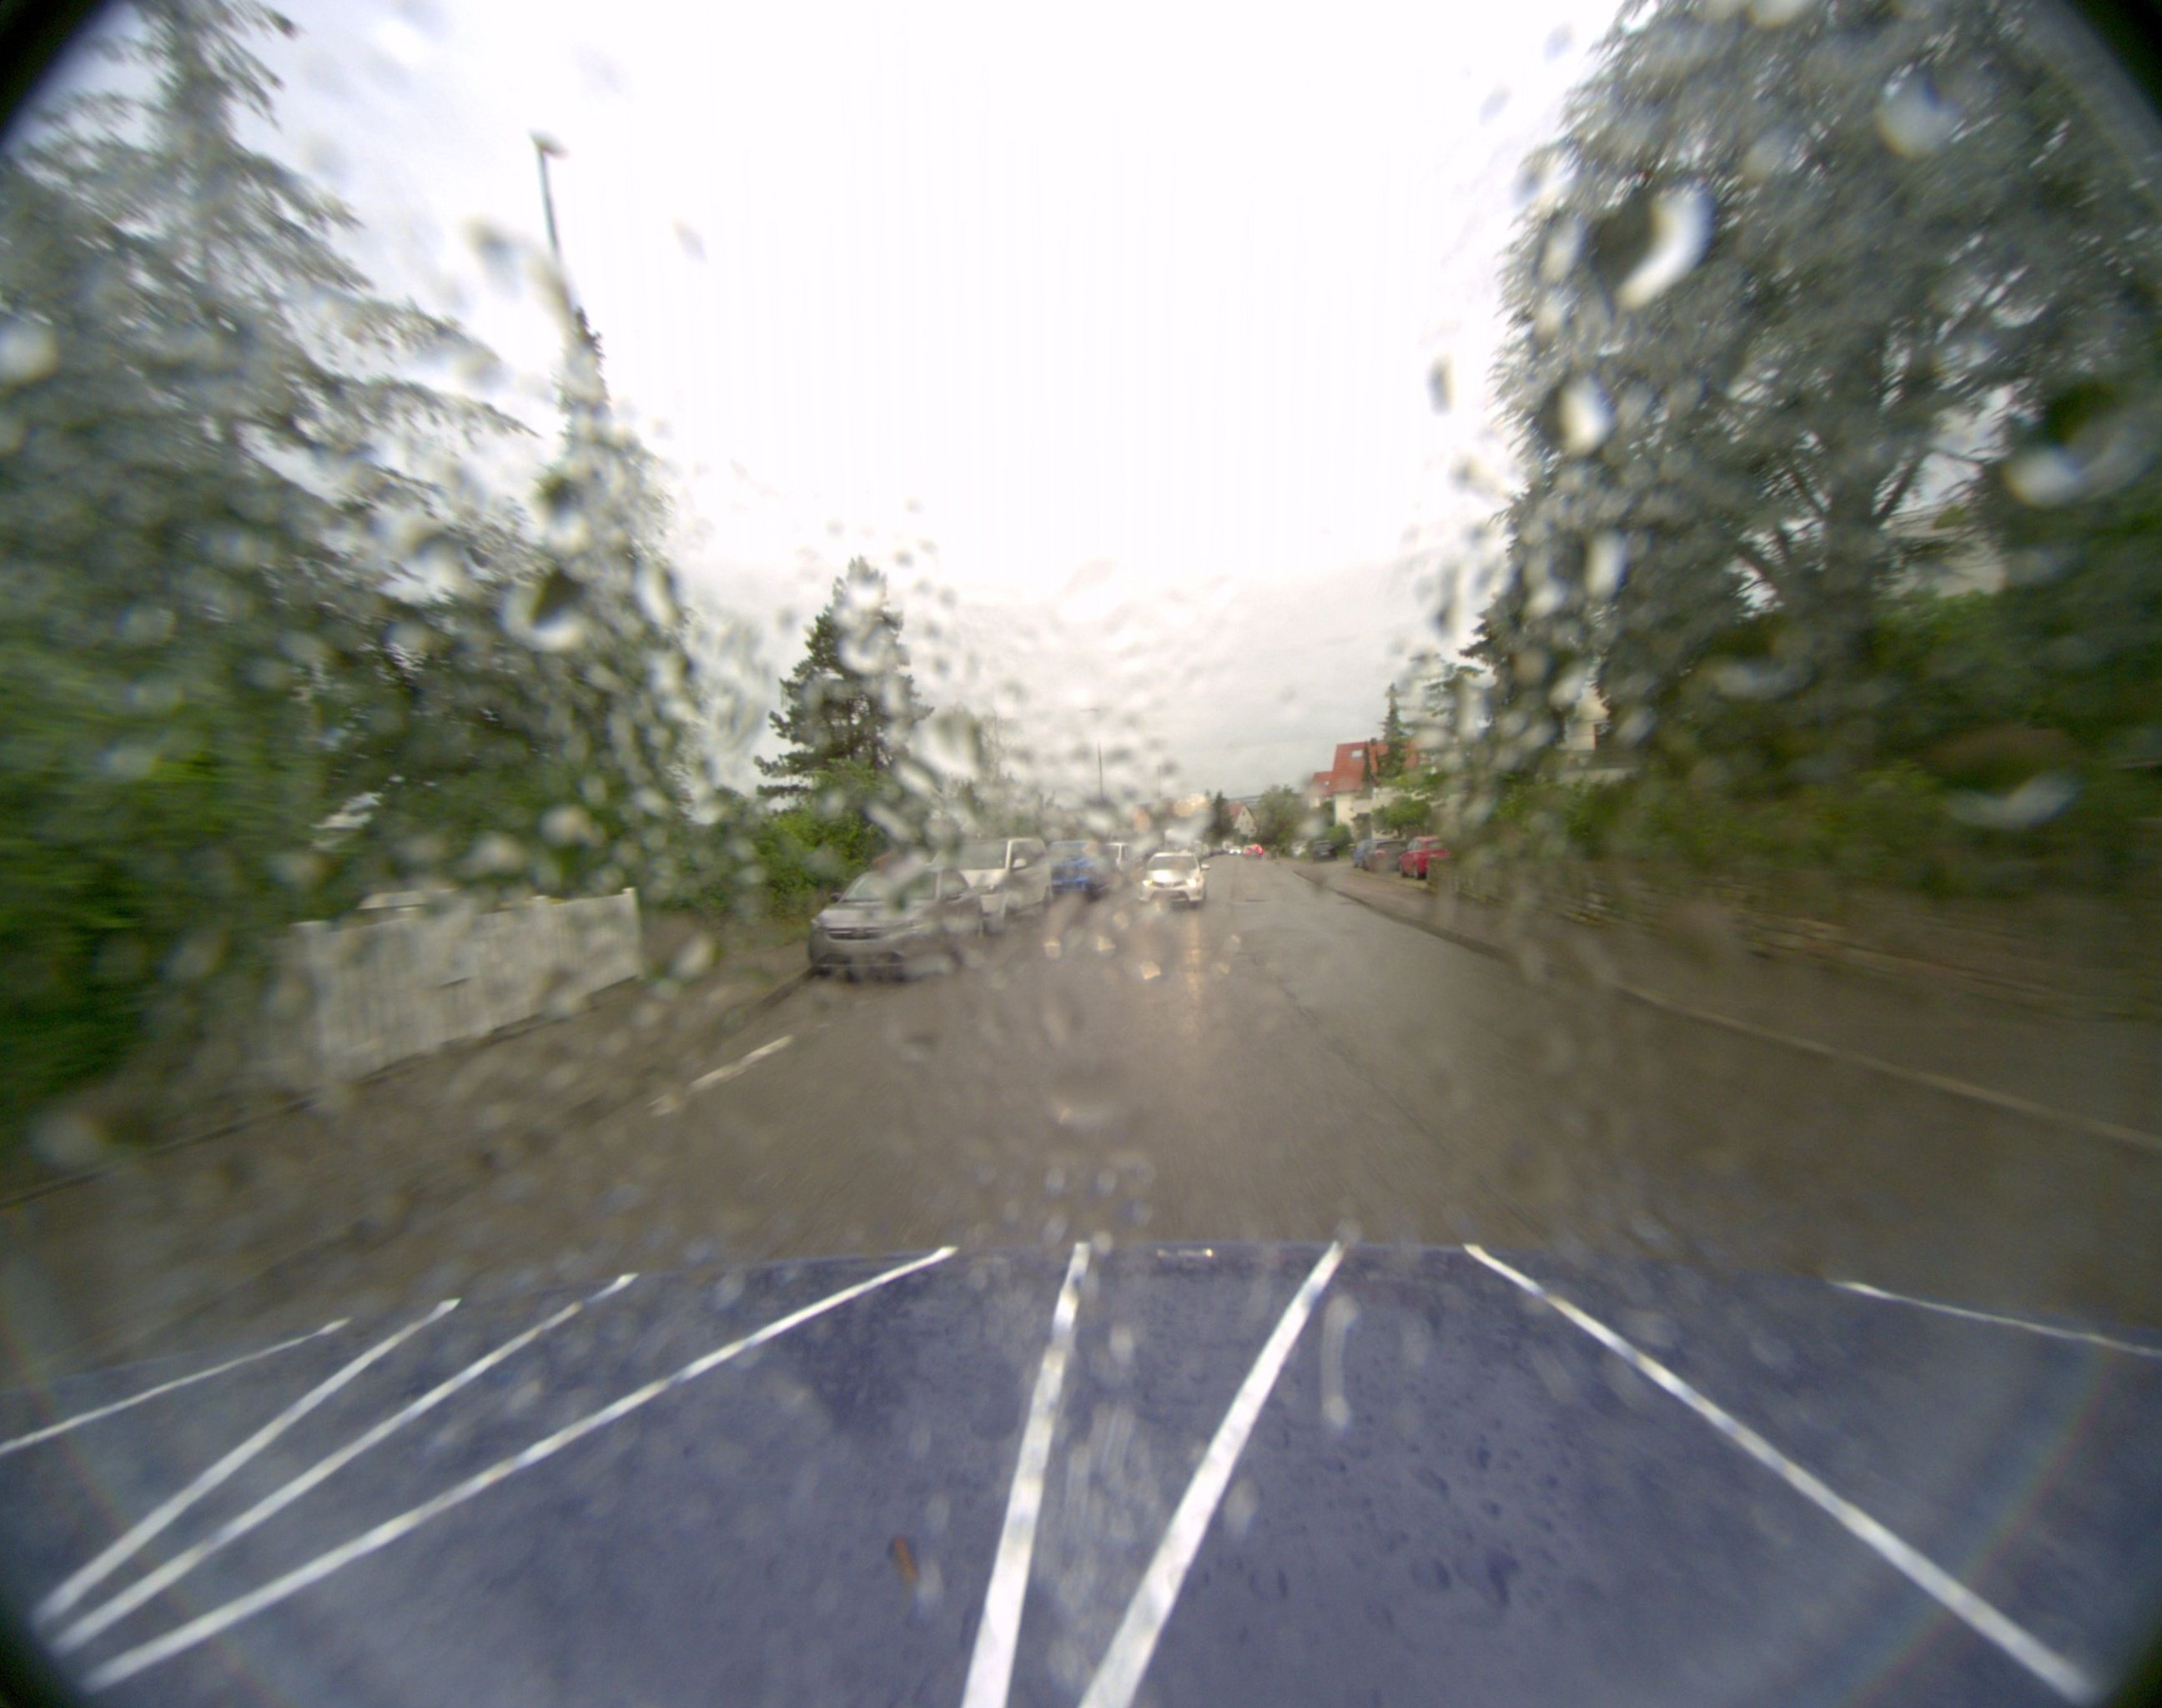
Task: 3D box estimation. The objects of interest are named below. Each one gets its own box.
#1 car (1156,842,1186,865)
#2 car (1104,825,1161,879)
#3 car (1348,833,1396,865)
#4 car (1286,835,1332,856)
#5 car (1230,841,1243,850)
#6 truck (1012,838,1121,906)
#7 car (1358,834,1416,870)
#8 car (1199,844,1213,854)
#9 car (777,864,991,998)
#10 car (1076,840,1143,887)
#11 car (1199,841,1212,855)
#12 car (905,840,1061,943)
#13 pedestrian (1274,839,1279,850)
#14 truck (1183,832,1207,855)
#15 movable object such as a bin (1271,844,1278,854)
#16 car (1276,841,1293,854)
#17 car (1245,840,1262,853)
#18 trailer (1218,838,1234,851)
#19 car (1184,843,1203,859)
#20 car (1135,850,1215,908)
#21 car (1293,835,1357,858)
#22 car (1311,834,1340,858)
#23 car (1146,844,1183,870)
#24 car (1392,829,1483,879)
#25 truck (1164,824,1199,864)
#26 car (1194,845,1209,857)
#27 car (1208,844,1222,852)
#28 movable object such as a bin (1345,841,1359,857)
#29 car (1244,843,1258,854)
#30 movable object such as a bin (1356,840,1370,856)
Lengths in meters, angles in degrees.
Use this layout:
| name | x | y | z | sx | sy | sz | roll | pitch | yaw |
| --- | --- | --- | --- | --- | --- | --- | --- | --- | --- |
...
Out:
| name | x | y | z | sx | sy | sz | roll | pitch | yaw |
| --- | --- | --- | --- | --- | --- | --- | --- | --- | --- |
| car | 7.225 | -0.051 | 60.297 | 1.849 | 1.674 | 5.642 | -1 | 1 | 12 |
| car | 2.694 | -0.131 | 38.502 | 2.034 | 2.491 | 5.960 | -1 | 1 | 12 |
| car | 15.410 | -0.263 | 40.422 | 1.610 | 1.425 | 3.962 | -6 | -1 | 11 |
| car | 22.939 | -0.892 | 76.368 | 4.059 | 1.682 | 1.896 | -6 | 0 | 25 |
| car | 26.691 | -1.474 | 130.705 | 1.818 | 1.498 | 4.729 | -1 | 1 | 16 |
| truck | -0.264 | 0.483 | 25.172 | 2.117 | 1.841 | 6.623 | -4 | 0 | 11 |
| car | 13.788 | -0.099 | 34.466 | 1.636 | 1.388 | 4.242 | -6 | 0 | 12 |
| car | 19.632 | -0.824 | 118.870 | 1.818 | 1.498 | 4.728 | -1 | 1 | 13 |
| car | -2.599 | 0.954 | 11.093 | 1.689 | 1.448 | 4.058 | -3 | 0 | 5 |
| car | 1.298 | 0.328 | 32.010 | 1.830 | 1.831 | 5.274 | -1 | 1 | 13 |
| car | 17.842 | -0.854 | 108.839 | 1.852 | 1.871 | 4.913 | -1 | 1 | 10 |
| car | -1.976 | 0.700 | 17.166 | 1.863 | 1.910 | 5.083 | -3 | 0 | 11 |
| pedestrian | 29.026 | -1.405 | 112.937 | 0.718 | 1.626 | 0.708 | -1 | 1 | 13 |
| truck | 13.579 | -1.250 | 89.937 | 2.242 | 2.616 | 6.543 | -1 | 1 | 13 |
| movable object such as a bin | 20.924 | -0.568 | 82.116 | 0.603 | 1.057 | 0.698 | -3 | 1 | 8 |
| car | 26.246 | -0.820 | 97.981 | 1.806 | 1.588 | 4.421 | -1 | 1 | 12 |
| car | 19.642 | -0.838 | 86.799 | 1.777 | 1.429 | 4.365 | 1 | 1 | 11 |
| trailer | 27.741 | -1.837 | 145.518 | 1.950 | 2.443 | 5.441 | -1 | 1 | 22 |
| car | 12.286 | -0.313 | 82.561 | 1.762 | 1.595 | 4.670 | -1 | 1 | 11 |
| car | 2.778 | 0.640 | 21.648 | 1.861 | 1.369 | 4.184 | -3 | 0 | 12 |
| car | 21.867 | -0.704 | 68.166 | 5.088 | 1.933 | 2.145 | -1 | 1 | 28 |
| car | 18.799 | -0.600 | 58.590 | 1.692 | 1.578 | 4.201 | -8 | -1 | 15 |
| car | 5.784 | 0.154 | 52.123 | 1.939 | 1.662 | 4.698 | -1 | 1 | 14 |
| car | 12.413 | -0.024 | 26.778 | 1.777 | 1.428 | 4.592 | -7 | 0 | 12 |
| truck | 9.086 | -0.921 | 68.105 | 2.440 | 3.316 | 7.970 | -1 | 1 | 12 |
| car | 16.089 | -0.417 | 101.195 | 1.650 | 1.554 | 3.966 | -1 | 1 | 13 |
| car | 23.909 | -1.099 | 135.135 | 1.795 | 1.451 | 4.794 | -1 | 1 | 18 |
| movable object such as a bin | 19.716 | -0.390 | 55.248 | 0.725 | 1.064 | 0.850 | -6 | 1 | 30 |
| car | 23.472 | -0.758 | 105.186 | 1.801 | 1.558 | 4.387 | -1 | 1 | 12 |
| movable object such as a bin | 20.329 | -0.455 | 54.833 | 0.725 | 1.064 | 0.767 | -6 | 1 | 30 |
